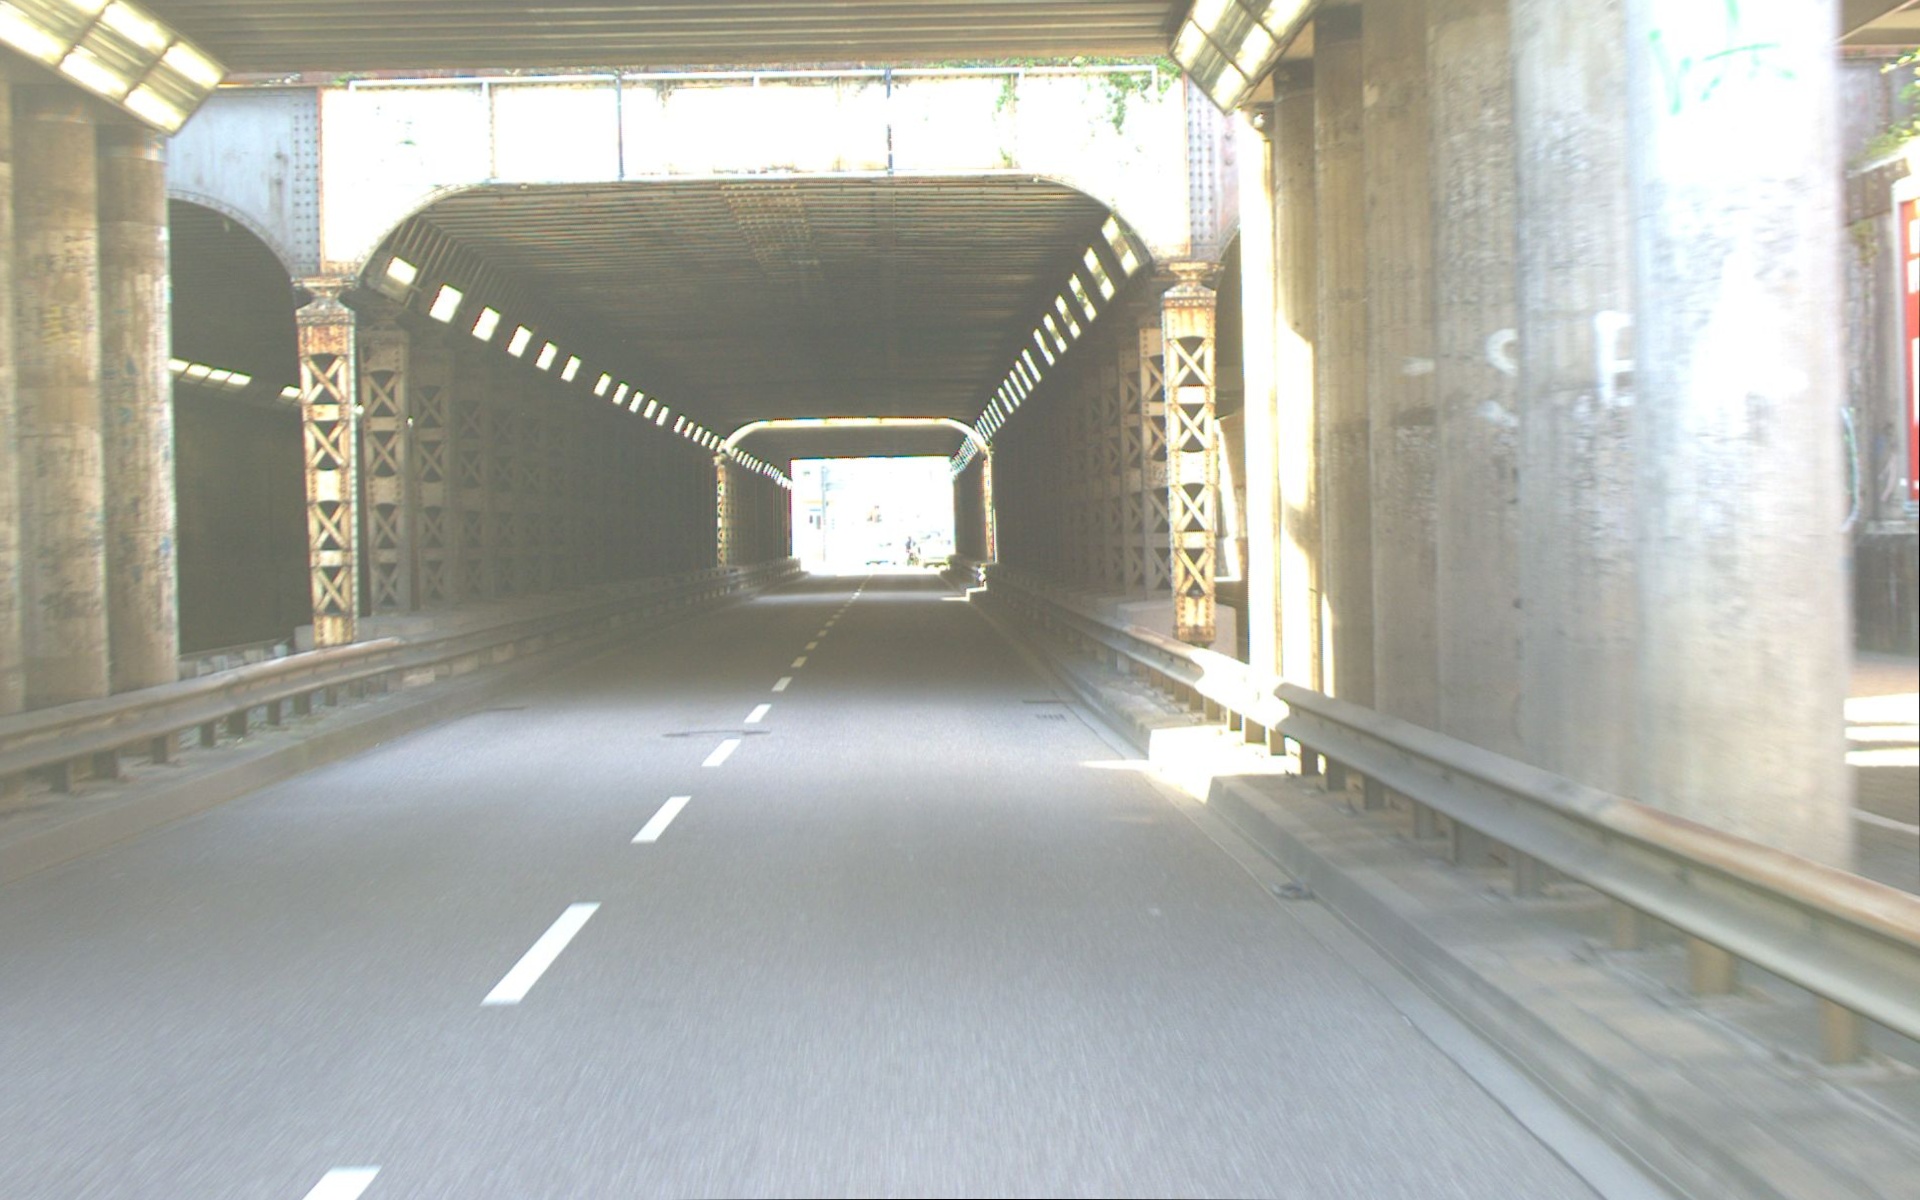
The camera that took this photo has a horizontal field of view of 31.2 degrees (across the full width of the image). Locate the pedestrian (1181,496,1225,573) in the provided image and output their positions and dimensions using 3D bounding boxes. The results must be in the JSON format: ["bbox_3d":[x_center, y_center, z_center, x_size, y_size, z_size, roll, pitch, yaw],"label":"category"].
[{"bbox_3d":[5.518,-1.499,78.243,0.800,1.696,1.111,-3,1,-2],"label":"pedestrian"}]

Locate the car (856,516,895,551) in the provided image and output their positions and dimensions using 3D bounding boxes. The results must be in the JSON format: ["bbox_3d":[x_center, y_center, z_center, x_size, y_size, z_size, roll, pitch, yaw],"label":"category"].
[{"bbox_3d":[-4.529,-3.587,185.338,1.993,1.778,4.000,-2,1,-1],"label":"car"}]

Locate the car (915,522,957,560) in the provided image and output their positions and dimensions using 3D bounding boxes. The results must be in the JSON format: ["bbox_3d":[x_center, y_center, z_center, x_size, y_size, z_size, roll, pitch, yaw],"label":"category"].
[{"bbox_3d":[-1.185,-2.904,169.376,1.993,1.778,4.000,-1,1,-1],"label":"car"}]

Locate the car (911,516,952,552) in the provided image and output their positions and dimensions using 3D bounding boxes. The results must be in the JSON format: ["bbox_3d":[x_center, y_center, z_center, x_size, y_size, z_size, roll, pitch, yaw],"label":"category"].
[{"bbox_3d":[-1.498,-3.420,178.647,1.993,1.778,4.000,-2,1,-1],"label":"car"}]
